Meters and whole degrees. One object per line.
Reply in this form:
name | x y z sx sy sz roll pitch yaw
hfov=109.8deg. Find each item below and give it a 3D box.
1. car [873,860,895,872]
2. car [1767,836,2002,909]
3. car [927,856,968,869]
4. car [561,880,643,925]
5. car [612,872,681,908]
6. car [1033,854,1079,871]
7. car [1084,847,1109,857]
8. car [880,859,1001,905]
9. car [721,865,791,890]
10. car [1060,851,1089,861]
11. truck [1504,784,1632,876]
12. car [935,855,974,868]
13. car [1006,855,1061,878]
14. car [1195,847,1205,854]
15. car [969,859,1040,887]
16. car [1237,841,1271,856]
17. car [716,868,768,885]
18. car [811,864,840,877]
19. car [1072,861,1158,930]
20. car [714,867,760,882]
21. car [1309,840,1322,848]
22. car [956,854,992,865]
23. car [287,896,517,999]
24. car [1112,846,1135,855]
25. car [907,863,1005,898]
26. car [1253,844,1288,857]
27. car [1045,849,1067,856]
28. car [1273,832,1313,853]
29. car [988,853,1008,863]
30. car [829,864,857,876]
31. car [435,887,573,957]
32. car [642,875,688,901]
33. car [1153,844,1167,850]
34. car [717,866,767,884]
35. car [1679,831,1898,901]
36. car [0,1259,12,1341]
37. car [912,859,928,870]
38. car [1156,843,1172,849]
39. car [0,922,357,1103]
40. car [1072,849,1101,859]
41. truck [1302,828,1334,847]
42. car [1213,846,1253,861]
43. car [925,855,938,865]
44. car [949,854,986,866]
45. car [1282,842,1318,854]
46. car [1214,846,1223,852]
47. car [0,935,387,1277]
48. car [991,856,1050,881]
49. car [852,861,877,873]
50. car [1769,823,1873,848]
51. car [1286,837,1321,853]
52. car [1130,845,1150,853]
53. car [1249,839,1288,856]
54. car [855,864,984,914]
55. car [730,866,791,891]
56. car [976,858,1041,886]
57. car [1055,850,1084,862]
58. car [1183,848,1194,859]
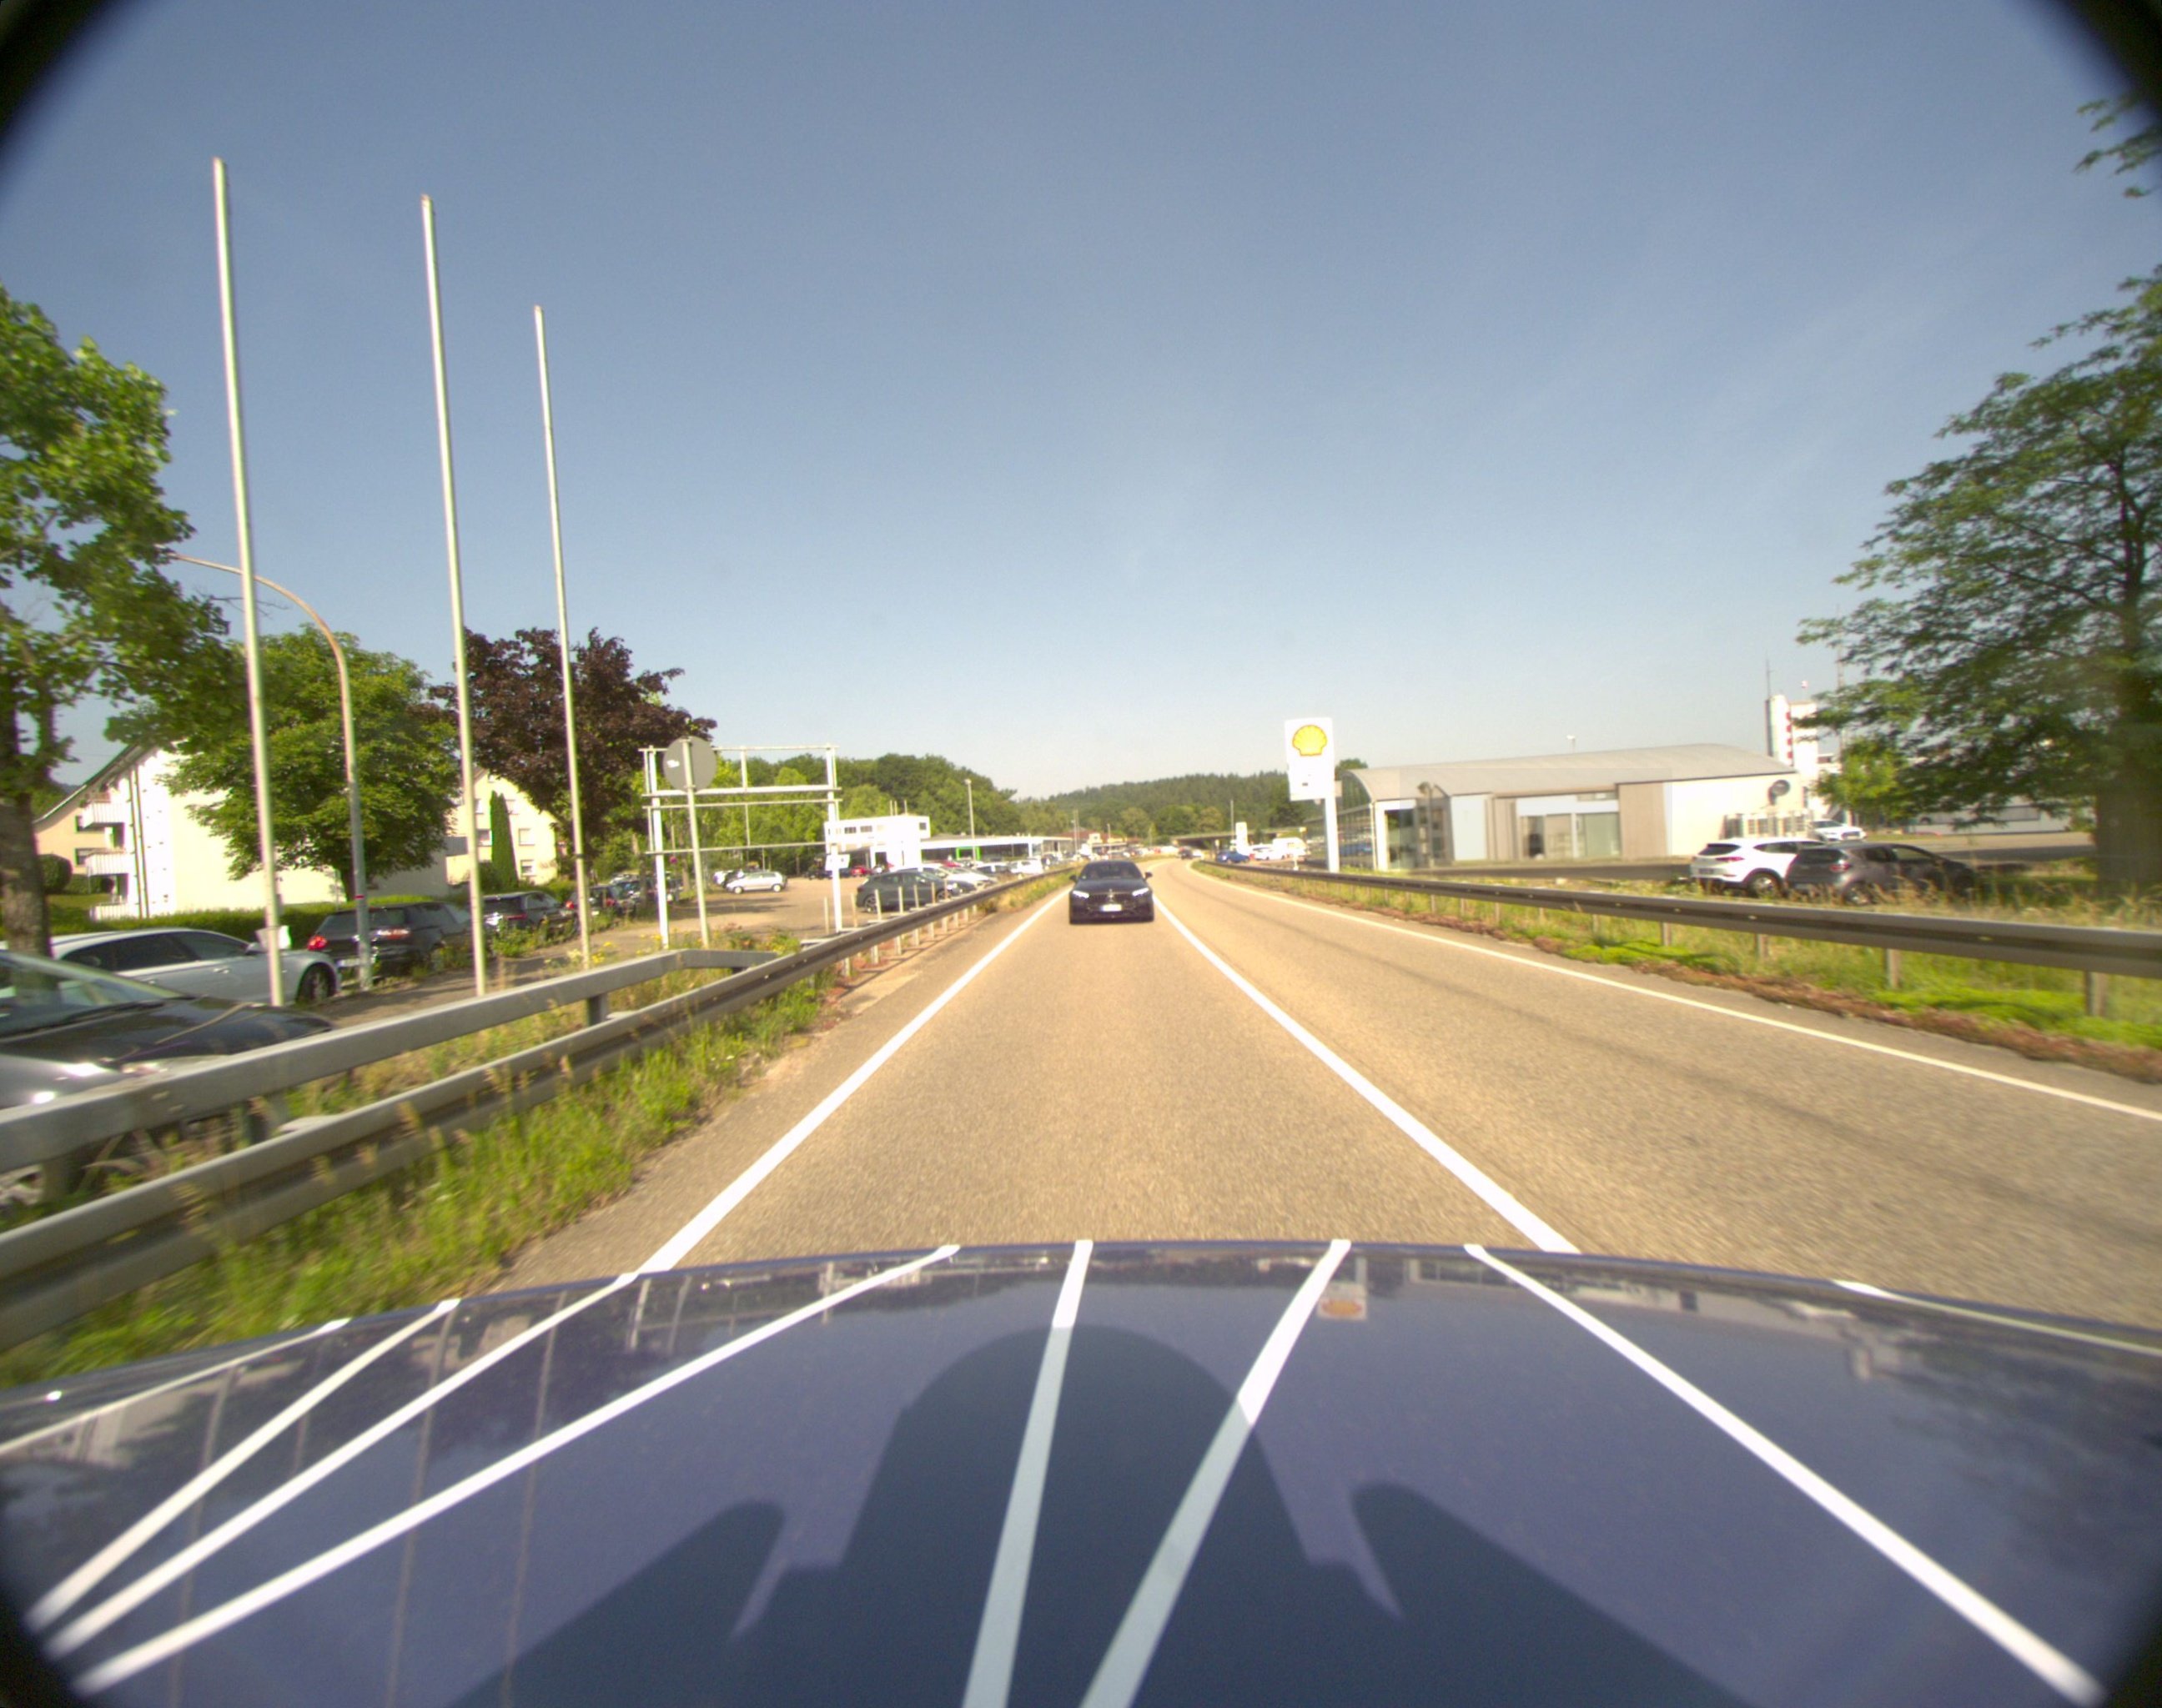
car | -29.542 1.795 114.022 2.002 1.537 4.609 -2 1 1
car | 19.744 0.430 18.807 3.757 1.491 1.932 -3 1 0
car | -17.439 1.079 99.256 4.744 1.556 1.933 -1 1 12
car | -17.677 1.733 28.217 1.657 1.358 3.656 -3 1 -18
car | -20.579 1.671 36.147 1.916 1.397 4.517 -3 1 -18
car | -2.440 0.864 74.628 4.167 1.536 1.741 -1 1 7
car | 2.708 -0.332 131.581 3.883 1.654 1.842 -1 1 19
car | -5.728 1.127 31.228 4.325 1.630 2.142 -2 1 14
car | -24.045 1.732 56.351 4.500 1.591 1.838 -3 1 -18
car | -0.994 0.304 117.330 3.993 1.485 1.792 -2 1 11
truck | 21.468 -1.080 33.223 8.227 3.536 2.799 -4 1 -44
car | -16.964 0.960 102.028 4.744 1.556 1.933 -1 1 12
car | -3.763 0.971 60.554 3.995 1.630 1.888 -2 1 6
car | 25.944 -0.790 165.137 1.795 1.620 4.230 -1 1 12
car | -4.681 1.172 46.840 3.995 1.513 1.698 -2 1 6
car | 25.825 -0.827 113.691 4.680 1.847 2.145 -4 0 9
car | -34.782 2.261 78.005 4.757 1.450 1.928 -2 1 -23
car | -36.923 2.364 109.819 1.836 1.537 4.467 -1 1 14
car | 0.708 0.921 18.636 1.716 1.382 4.146 -2 1 -2
car | -41.618 2.445 92.051 4.754 1.625 1.929 -2 1 -17
car | 48.734 -2.149 157.907 1.716 1.557 4.665 -2 0 28
car | -15.620 0.796 110.939 4.744 1.556 1.933 -1 1 12
car | -13.159 1.693 15.132 1.710 1.397 4.477 -3 1 -18
car | 8.318 -0.651 147.984 3.991 1.623 1.923 -2 1 19
car | -5.958 1.254 36.592 4.329 1.435 1.628 -2 1 4
car | 24.328 -0.469 97.416 4.236 1.395 1.893 -4 1 -31
car | -5.329 -0.286 162.406 4.316 1.456 1.792 -1 1 13
car | 32.765 -1.791 117.548 5.731 2.729 2.287 -4 1 10
car | -12.842 0.597 117.307 1.934 1.556 4.742 -2 1 -22
car | -34.202 2.241 109.273 1.837 1.537 4.466 -1 1 12
car | -14.937 1.699 19.905 1.710 1.397 3.656 -3 1 -18
car | -23.075 1.853 42.258 1.595 1.179 3.656 -3 1 -18
car | 20.834 -1.963 200.517 3.542 1.456 1.807 -1 1 16
car | -35.906 2.222 80.576 4.757 1.579 1.928 -2 1 -23
car | 19.846 0.312 21.452 4.361 1.645 1.932 -3 1 0
car | -6.329 1.492 1.948 3.999 1.441 1.763 -6 2 -8
car | -24.091 1.566 114.058 2.003 1.537 4.606 -2 1 -8
car | 22.072 -2.083 202.797 3.992 1.456 1.879 -1 1 16
car | -11.647 1.776 9.445 1.790 1.411 4.434 -3 0 -13
car | 0.939 -0.019 126.895 4.455 1.591 1.856 -2 1 10
truck | 56.399 -4.077 180.434 3.055 4.111 16.801 -2 1 31
car | 17.233 -0.077 86.203 4.239 1.498 1.981 -2 0 -31
car | -24.690 0.974 125.496 1.790 1.556 4.352 -2 1 -8
car | -16.064 0.844 107.982 4.744 1.556 1.933 -1 1 12
car | 30.114 -0.838 104.620 4.473 1.390 1.967 -4 0 9
car | 36.418 -1.261 201.074 1.754 1.466 4.292 -1 1 18
car | -6.854 1.402 4.188 4.072 1.444 1.726 -3 1 -14
car | -4.297 1.038 54.636 3.996 1.571 1.778 -2 1 2
car | -32.413 1.915 114.056 2.001 1.537 4.611 -2 1 6
car | 39.085 -0.945 40.283 1.726 1.193 4.000 -3 0 3
car | 31.236 -1.245 106.936 4.389 1.797 2.002 -5 0 9
car | 12.708 -1.038 164.469 4.044 1.499 1.808 -1 1 17
car | 25.311 -0.862 102.739 4.801 1.970 2.230 -5 0 9
car | -5.920 1.270 28.086 4.158 1.474 1.883 -4 1 8
car | -22.220 1.689 52.798 3.769 1.513 1.654 -3 1 -20
car | -4.690 1.166 49.314 3.854 1.559 1.808 -2 1 6
car | -1.747 0.324 114.831 4.084 1.600 1.793 -2 1 8
car | 19.972 -0.135 141.459 1.918 1.874 4.913 -1 1 9
